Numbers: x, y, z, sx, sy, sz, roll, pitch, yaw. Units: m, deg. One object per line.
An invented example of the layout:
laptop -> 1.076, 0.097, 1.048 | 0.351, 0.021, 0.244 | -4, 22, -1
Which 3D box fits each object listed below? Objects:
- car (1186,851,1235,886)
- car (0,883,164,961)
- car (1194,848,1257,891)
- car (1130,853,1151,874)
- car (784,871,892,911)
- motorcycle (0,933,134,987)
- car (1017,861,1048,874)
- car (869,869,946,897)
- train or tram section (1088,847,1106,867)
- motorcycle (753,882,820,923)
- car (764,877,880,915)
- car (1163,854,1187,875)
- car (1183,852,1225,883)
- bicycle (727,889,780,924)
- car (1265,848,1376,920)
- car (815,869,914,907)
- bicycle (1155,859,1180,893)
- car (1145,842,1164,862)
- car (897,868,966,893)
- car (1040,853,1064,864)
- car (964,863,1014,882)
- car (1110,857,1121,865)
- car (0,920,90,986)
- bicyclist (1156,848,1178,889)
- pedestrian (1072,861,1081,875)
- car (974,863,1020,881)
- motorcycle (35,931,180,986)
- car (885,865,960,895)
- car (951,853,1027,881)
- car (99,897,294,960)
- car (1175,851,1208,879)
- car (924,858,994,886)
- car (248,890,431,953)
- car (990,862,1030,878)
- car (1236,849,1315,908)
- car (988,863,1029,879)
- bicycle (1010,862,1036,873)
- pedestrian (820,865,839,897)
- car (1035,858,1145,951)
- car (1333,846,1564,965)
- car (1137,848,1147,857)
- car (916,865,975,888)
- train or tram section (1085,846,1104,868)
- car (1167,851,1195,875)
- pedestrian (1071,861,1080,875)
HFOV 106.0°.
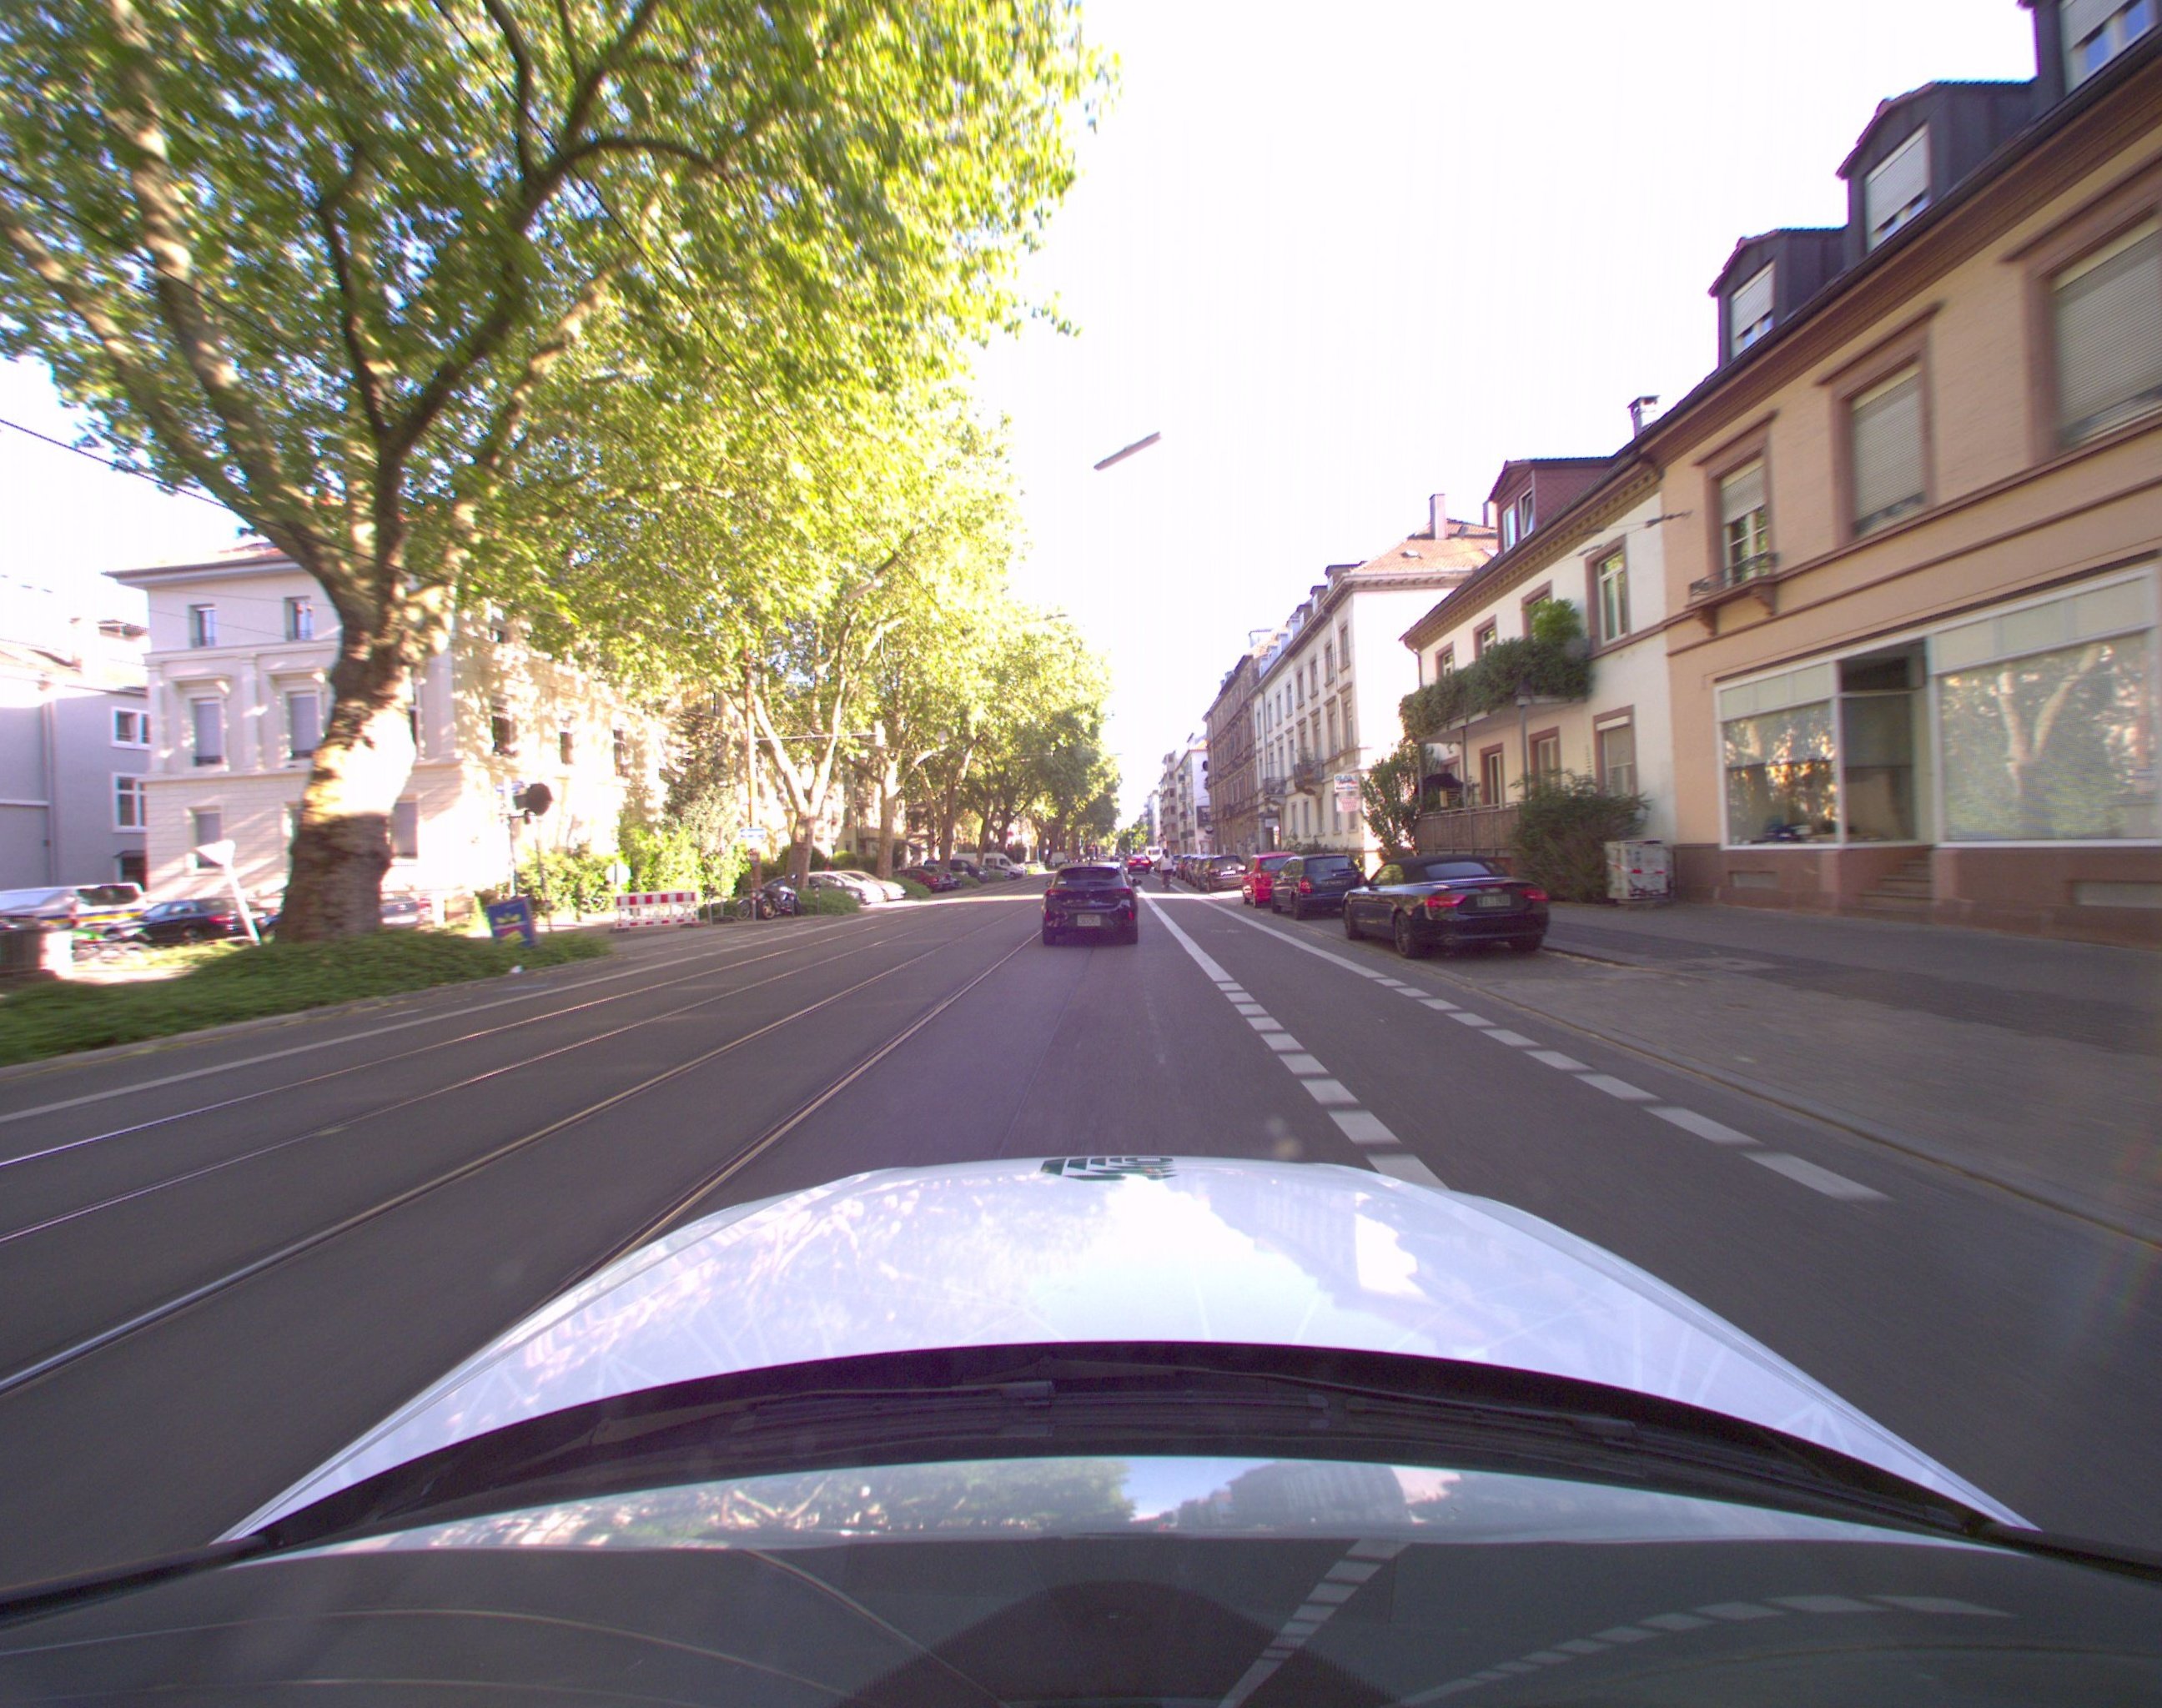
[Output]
car -> 6.324, 0.705, 40.166 | 1.792, 1.456, 3.769 | -6, -1, 2
car -> -31.767, 2.112, 25.302 | 4.383, 2.002, 2.019 | -3, 2, 6
car -> 6.237, 0.677, 35.621 | 1.875, 1.585, 3.931 | -6, -1, -1
car -> 5.354, 0.830, 73.407 | 1.802, 1.742, 3.937 | -3, 0, 4
car -> -10.236, 1.557, 34.467 | 3.906, 1.453, 1.801 | -3, -1, 2
motorcycle -> -23.171, 2.384, 18.541 | 0.714, 0.977, 1.963 | -1, -1, 15
car -> -6.243, 1.758, 105.981 | 3.908, 1.498, 1.677 | -1, -1, -1
car -> -9.731, 1.598, 45.910 | 3.904, 1.442, 1.750 | -1, -1, 2
train or tram section -> 3.275, 0.583, 162.573 | 2.723, 3.681, 12.728 | -3, 0, 4
motorcycle -> -9.378, 1.522, 26.058 | 0.879, 1.147, 2.397 | -2, 0, 10
car -> -10.102, 1.611, 31.939 | 3.904, 1.332, 1.849 | -1, -1, 3
car -> 7.458, 0.780, 64.725 | 1.696, 1.456, 3.703 | -6, -1, 6
car -> 6.741, 0.702, 45.010 | 1.872, 1.456, 4.030 | -6, -1, 4
bicycle -> -10.466, 1.665, 26.108 | 0.537, 0.940, 2.040 | -2, 0, 10
car -> 5.687, 0.672, 19.801 | 1.644, 1.456, 3.871 | -4, -1, 3
car -> -9.869, 1.538, 37.324 | 3.904, 1.462, 1.807 | -3, -1, 2
bicycle -> 3.797, 0.924, 35.861 | 0.857, 1.407, 2.525 | -2, 0, 1
car -> 9.171, -0.189, 102.315 | 2.067, 2.219, 4.938 | -6, -1, 4
car -> -9.241, 1.601, 50.515 | 3.906, 1.421, 1.819 | -1, -1, 0
car -> -4.806, 0.783, 136.423 | 3.908, 1.790, 1.677 | -1, -1, -1
car -> -7.809, 1.566, 69.306 | 3.903, 1.498, 1.679 | -1, -1, 3
car -> 6.035, 1.224, 142.719 | 1.802, 1.338, 3.937 | -3, 0, 4
car -> -25.592, 2.278, 18.862 | 3.891, 1.332, 1.855 | -1, -1, 14
bicyclist -> 3.786, 0.614, 35.916 | 0.845, 1.740, 1.162 | -2, -1, 1
pedestrian -> -0.468, 1.577, 93.465 | 0.672, 1.567, 0.774 | -3, -1, 30
car -> -7.457, 1.616, 72.620 | 3.905, 1.498, 1.678 | -1, -1, 1
motorcycle -> -21.842, 2.320, 18.328 | 0.714, 0.977, 1.963 | -1, -1, 15
car -> -9.346, 1.517, 48.111 | 3.979, 1.627, 1.880 | -1, -1, 2
car -> -8.394, 1.155, 75.043 | 6.601, 2.409, 2.459 | -1, -1, 2
car -> -26.096, 2.176, 24.118 | 3.903, 1.418, 1.696 | -4, 1, 3
car -> 6.902, 0.664, 51.141 | 1.703, 1.483, 3.767 | -6, -1, 4
car -> -8.945, 1.332, 59.943 | 4.655, 1.924, 1.982 | -1, -1, 3
car -> -21.769, 1.952, 23.998 | 3.761, 1.418, 1.696 | -4, 2, 3
car -> -7.305, 1.613, 84.041 | 3.908, 1.577, 1.677 | -1, -1, -1
car -> 5.696, 0.684, 24.281 | 1.627, 1.546, 3.579 | -4, 0, 4
car -> -7.261, 1.663, 81.639 | 3.908, 1.498, 1.677 | -1, -1, -1
bicycle -> -7.120, 1.662, 99.597 | 2.918, 1.169, 0.995 | -2, -1, 19
pedestrian -> -15.128, 1.595, 48.958 | 0.863, 1.849, 0.836 | -2, -1, -5
car -> 0.221, 0.854, 15.476 | 1.787, 1.441, 3.533 | -2, 0, 2
car -> 5.323, 0.656, 12.519 | 1.686, 1.392, 4.499 | -4, 0, 4
car -> 11.471, -0.252, 152.763 | 1.802, 1.338, 3.937 | -6, -1, 4
car -> -9.463, 1.597, 57.028 | 3.720, 1.498, 1.747 | -1, -1, 2
train or tram section -> 2.503, 0.554, 149.956 | 2.723, 3.681, 12.728 | -3, 0, 4
car -> 7.303, 0.674, 59.672 | 1.562, 1.517, 3.040 | -6, -1, 0
pedestrian -> -0.628, 1.579, 92.655 | 0.672, 1.567, 0.774 | -3, -1, 30
